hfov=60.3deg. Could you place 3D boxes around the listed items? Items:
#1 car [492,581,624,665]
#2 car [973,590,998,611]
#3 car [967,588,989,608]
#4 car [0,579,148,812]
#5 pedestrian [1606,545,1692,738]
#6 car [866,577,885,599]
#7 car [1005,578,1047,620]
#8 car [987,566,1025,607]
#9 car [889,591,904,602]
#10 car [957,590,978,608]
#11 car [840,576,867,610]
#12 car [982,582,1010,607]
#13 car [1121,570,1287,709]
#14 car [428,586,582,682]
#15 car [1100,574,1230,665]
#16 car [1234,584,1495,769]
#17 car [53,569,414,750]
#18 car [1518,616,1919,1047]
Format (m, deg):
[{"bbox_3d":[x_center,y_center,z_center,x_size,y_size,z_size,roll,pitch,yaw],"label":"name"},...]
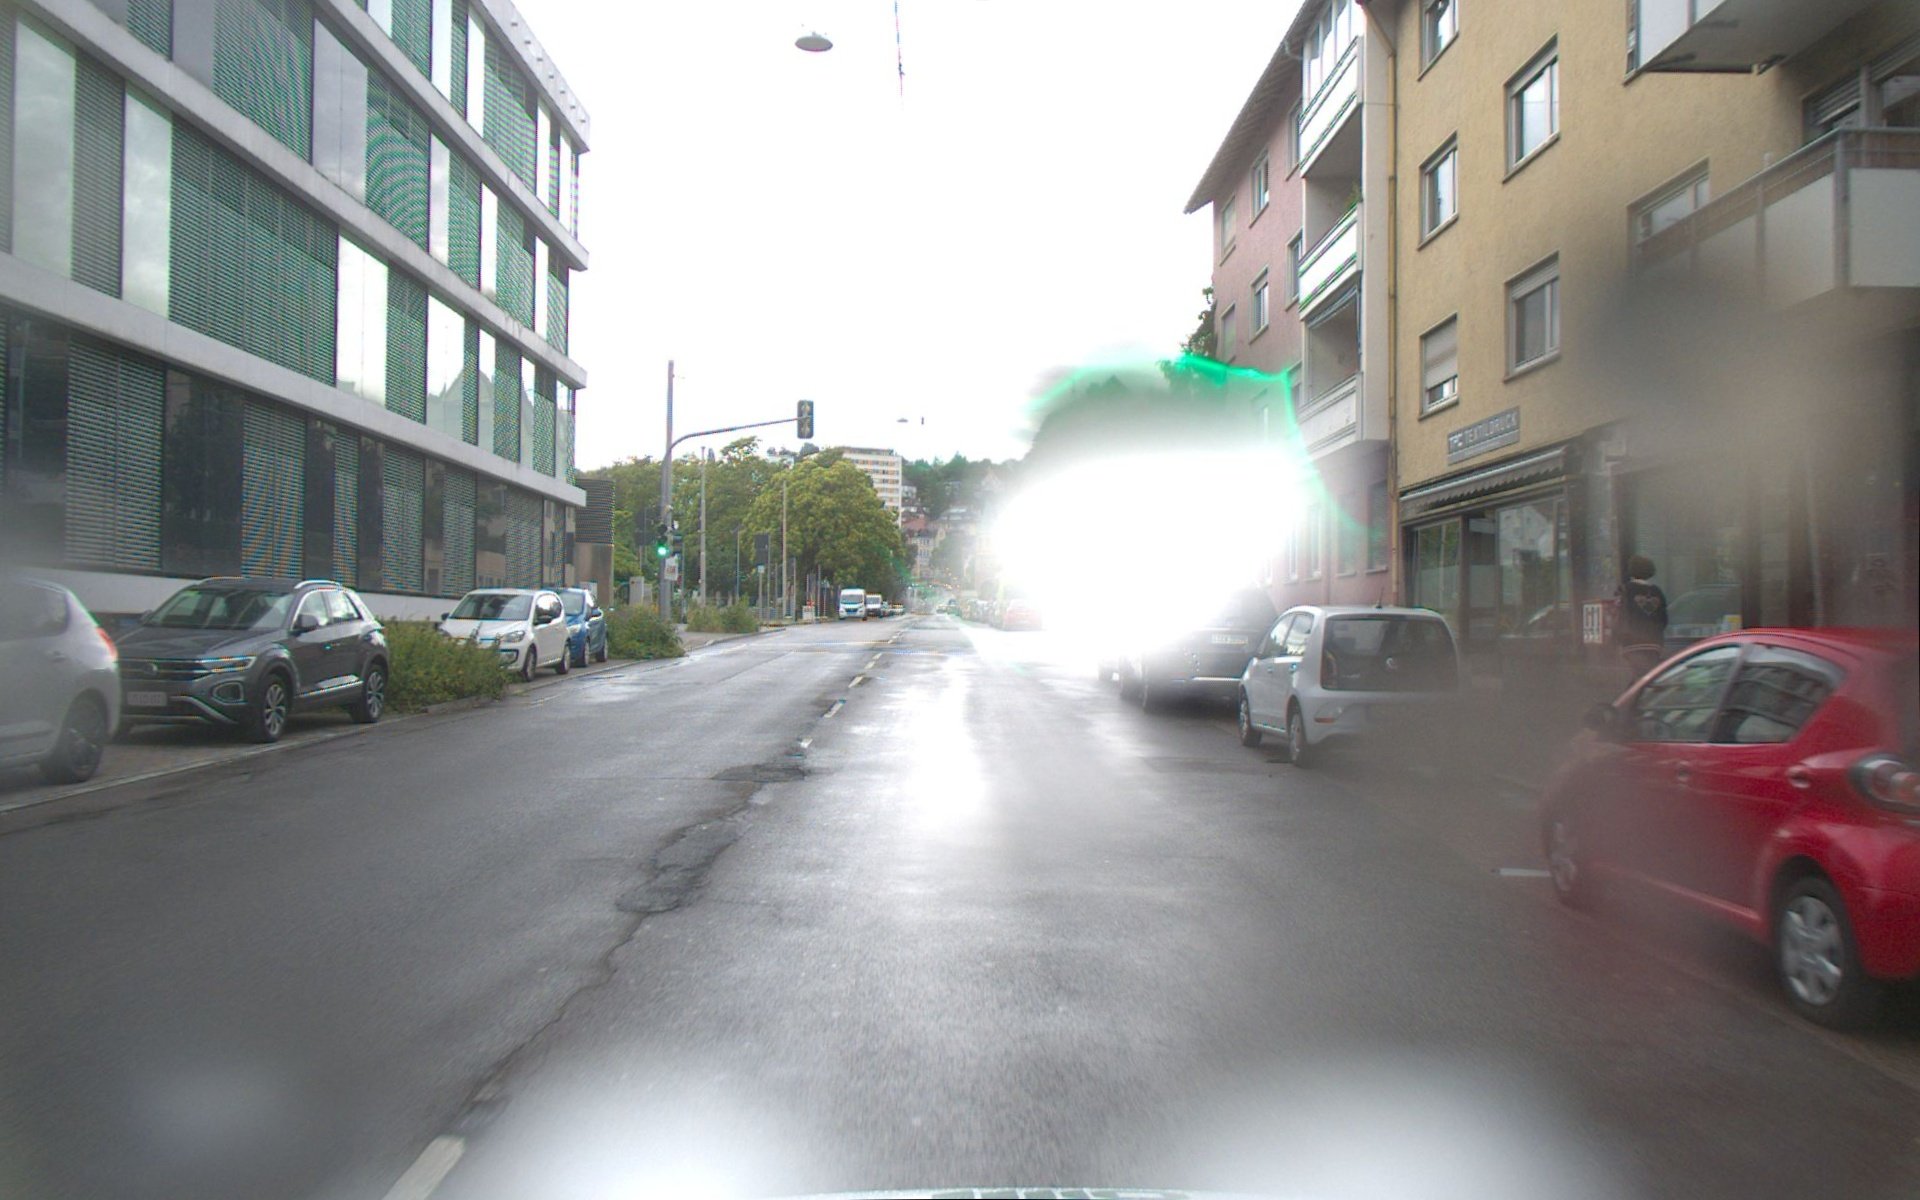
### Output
[{"bbox_3d":[-8.055,0.416,33.489,1.829,1.552,4.194,1,1,-3],"label":"car"},{"bbox_3d":[1.993,0.043,129.316,1.828,1.632,4.190,1,0,2],"label":"car"},{"bbox_3d":[1.600,-0.164,144.663,1.828,1.632,4.190,1,0,2],"label":"car"},{"bbox_3d":[-7.398,0.652,11.175,1.735,1.561,4.315,1,1,-1],"label":"car"},{"bbox_3d":[6.928,0.414,16.646,0.626,1.903,0.538,1,0,1],"label":"pedestrian"},{"bbox_3d":[-8.614,-1.172,168.907,1.830,2.178,4.355,1,0,-4],"label":"car"},{"bbox_3d":[2.966,-0.040,74.634,1.828,1.801,4.190,1,0,2],"label":"car"},{"bbox_3d":[2.345,-0.666,83.767,1.828,2.008,4.190,1,0,2],"label":"car"},{"bbox_3d":[-9.246,-0.540,241.219,1.996,1.617,4.355,1,0,-4],"label":"car"},{"bbox_3d":[0.682,-0.113,152.823,1.828,1.632,4.190,1,0,2],"label":"car"},{"bbox_3d":[-8.360,-0.555,130.046,2.063,2.591,4.748,1,0,-3],"label":"car"},{"bbox_3d":[2.409,-0.349,109.965,1.828,1.632,4.190,1,0,2],"label":"car"},{"bbox_3d":[3.306,0.467,23.158,1.621,1.768,4.179,0,1,-1],"label":"car"},{"bbox_3d":[-7.682,0.526,28.238,1.562,1.485,3.719,1,1,1],"label":"car"},{"bbox_3d":[3.529,0.296,29.034,1.745,1.435,3.762,-1,1,-1],"label":"car"},{"bbox_3d":[3.861,0.664,16.379,1.602,1.598,3.710,1,0,-1],"label":"car"},{"bbox_3d":[-7.370,0.550,17.299,1.764,1.632,4.235,1,0,2],"label":"car"},{"bbox_3d":[3.978,0.827,7.561,1.550,1.438,3.653,1,0,-1],"label":"car"}]
